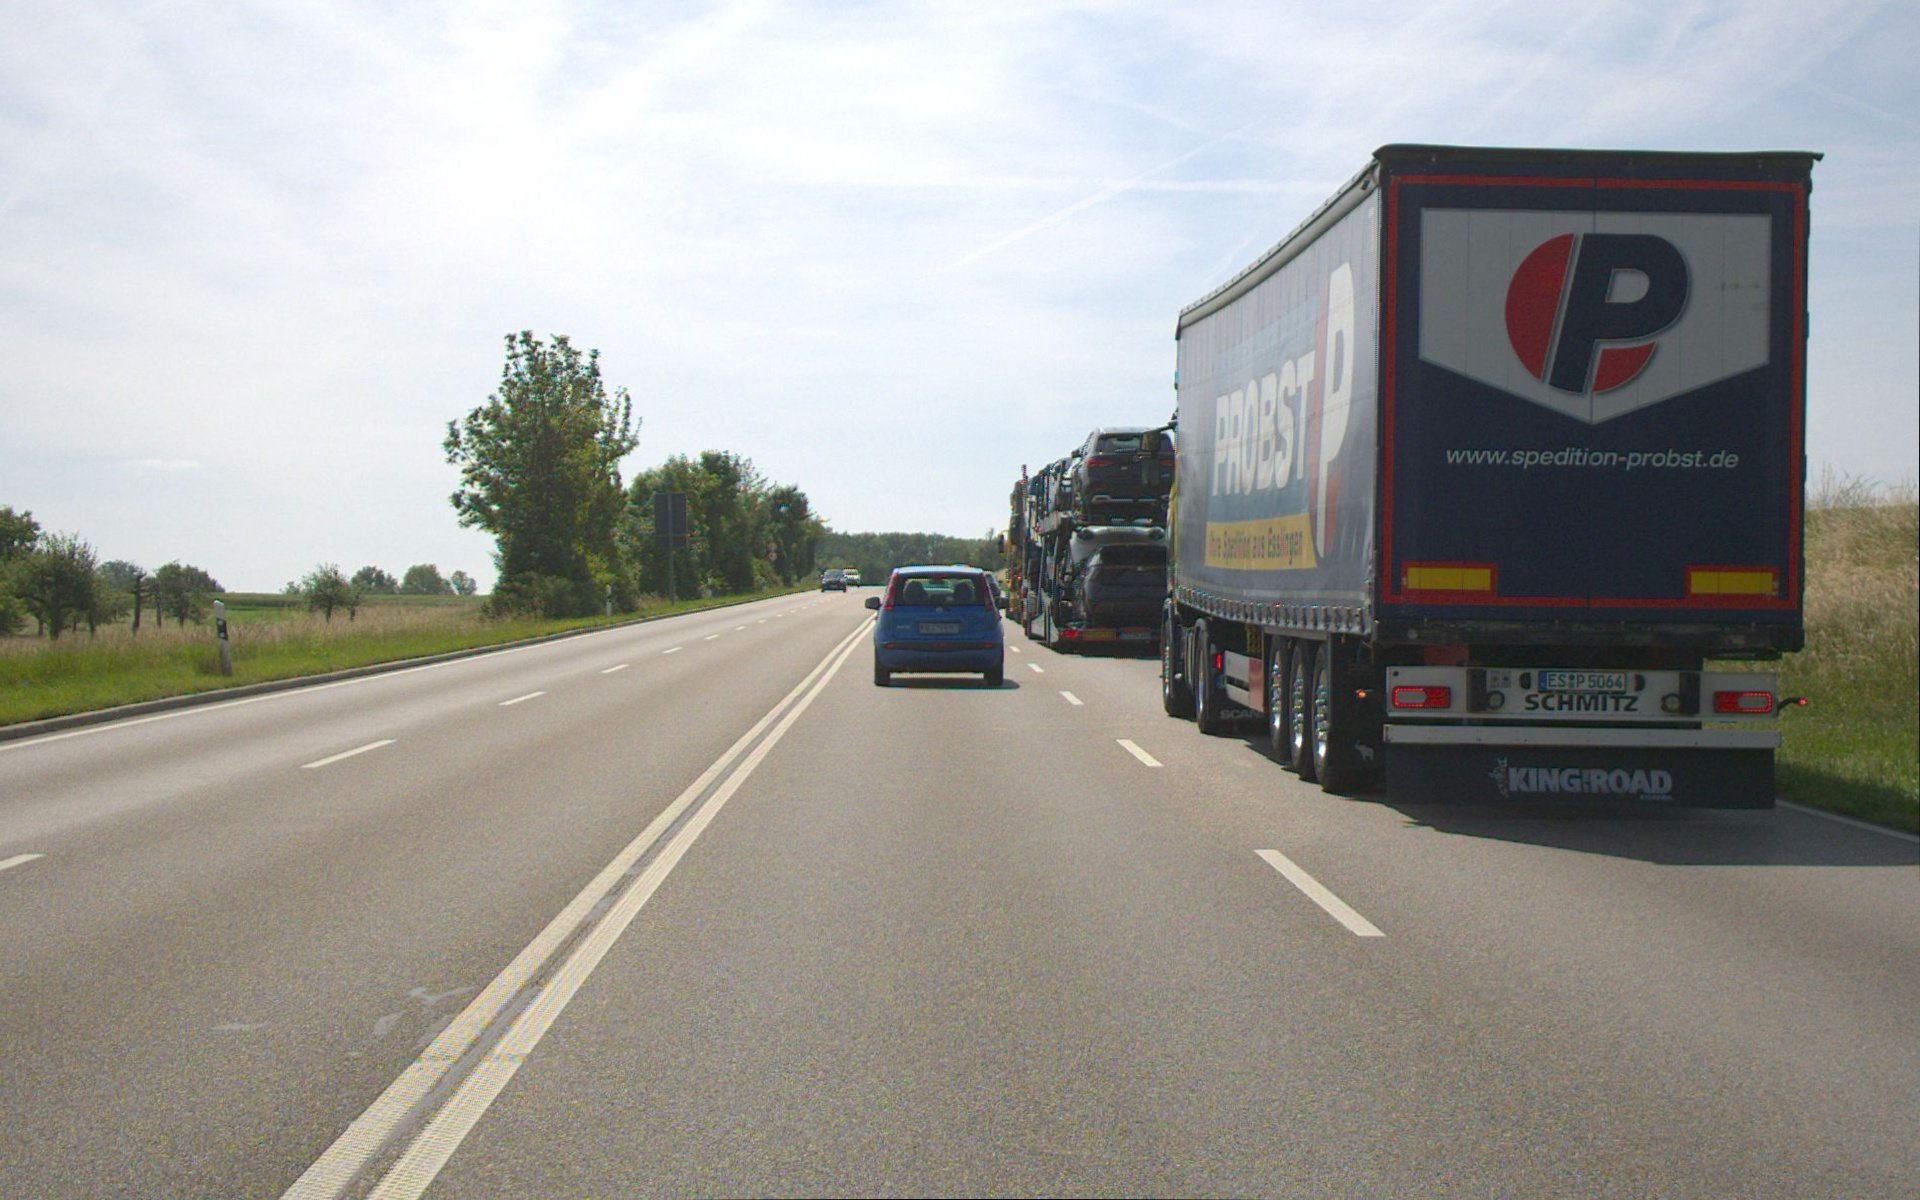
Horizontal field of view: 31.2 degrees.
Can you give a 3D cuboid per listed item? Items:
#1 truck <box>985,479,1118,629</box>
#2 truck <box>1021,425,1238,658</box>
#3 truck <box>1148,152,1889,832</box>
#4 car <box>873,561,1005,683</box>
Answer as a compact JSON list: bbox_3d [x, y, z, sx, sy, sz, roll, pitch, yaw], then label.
[{"bbox_3d":[2.475,-1.282,99.563,3.047,3.897,18.398,1,0,-1],"label":"truck"},{"bbox_3d":[3.036,-1.060,67.386,3.047,3.897,18.398,1,0,-1],"label":"truck"},{"bbox_3d":[3.668,-0.687,27.752,3.047,3.897,15.616,1,0,-1],"label":"truck"},{"bbox_3d":[-0.240,0.253,45.561,1.632,1.526,3.915,1,1,1],"label":"car"}]
